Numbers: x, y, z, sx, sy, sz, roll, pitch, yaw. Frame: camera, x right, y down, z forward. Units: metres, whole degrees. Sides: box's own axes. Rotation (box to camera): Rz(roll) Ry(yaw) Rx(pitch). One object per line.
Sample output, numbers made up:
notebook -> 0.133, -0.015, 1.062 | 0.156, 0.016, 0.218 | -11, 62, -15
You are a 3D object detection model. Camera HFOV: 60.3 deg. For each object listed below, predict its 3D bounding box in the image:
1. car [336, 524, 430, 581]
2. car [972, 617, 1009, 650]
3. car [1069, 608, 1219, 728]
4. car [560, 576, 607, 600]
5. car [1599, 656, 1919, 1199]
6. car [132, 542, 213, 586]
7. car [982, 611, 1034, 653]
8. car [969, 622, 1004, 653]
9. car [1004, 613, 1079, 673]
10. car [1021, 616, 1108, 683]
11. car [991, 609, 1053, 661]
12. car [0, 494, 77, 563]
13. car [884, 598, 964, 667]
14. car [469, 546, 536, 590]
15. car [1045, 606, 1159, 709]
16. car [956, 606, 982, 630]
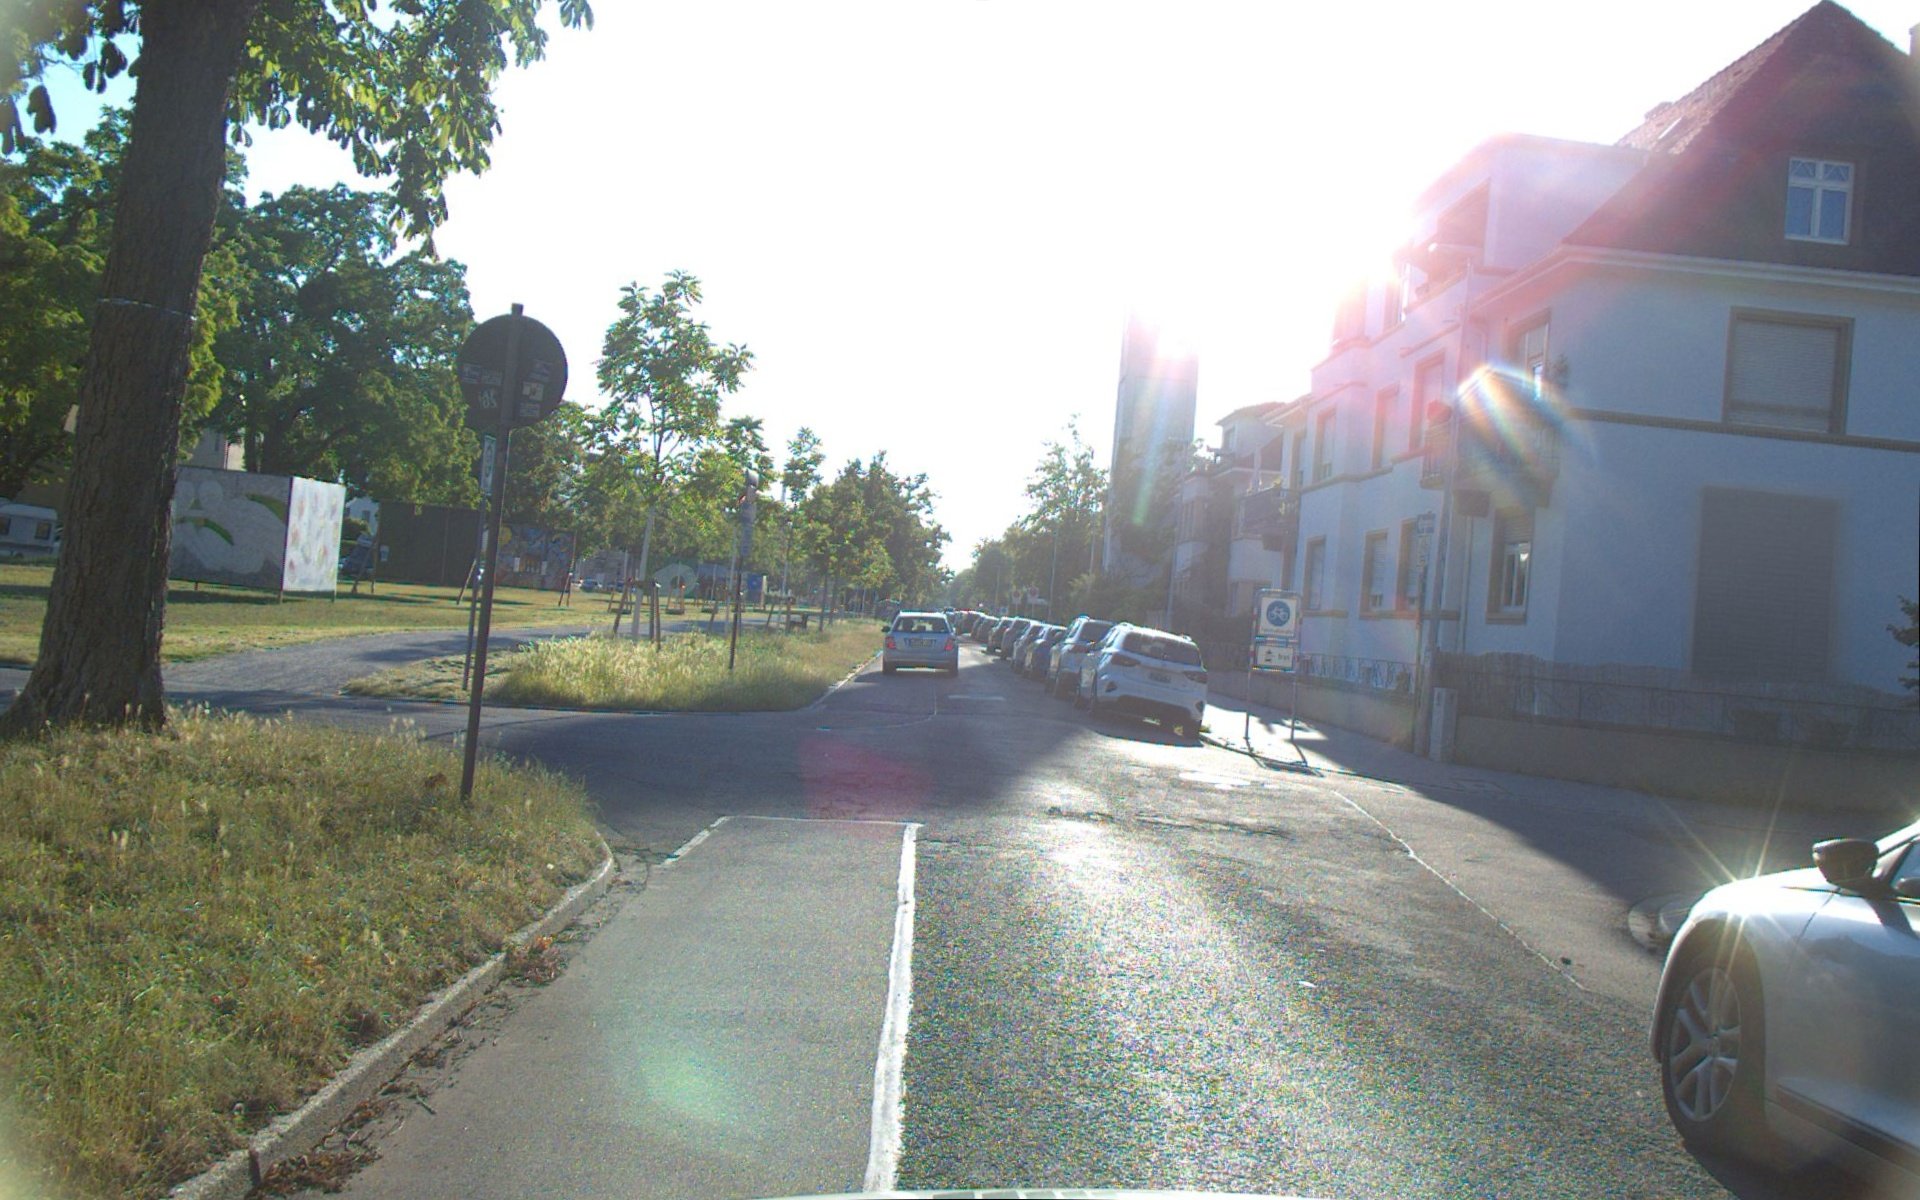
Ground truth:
car -> -34.525, -2.798, 99.185 | 3.095, 3.045, 6.892 | 2, 0, 0
car -> 1.720, 1.891, 94.271 | 1.953, 1.657, 4.000 | 4, 0, 0
car -> 2.928, 1.039, 27.178 | 1.723, 1.632, 4.357 | 4, 0, -2
car -> -36.399, -1.132, 160.195 | 3.095, 2.185, 6.109 | 2, 0, 0
car -> 3.267, 1.081, 3.897 | 1.723, 1.443, 4.071 | 10, 0, 0
car -> -40.070, -1.828, 84.229 | 1.953, 2.049, 4.484 | 2, 0, -1
car -> 1.937, 1.292, 68.343 | 1.953, 1.489, 4.000 | 4, 0, 0
car -> 1.583, 2.268, 100.786 | 1.953, 1.657, 4.000 | 4, 0, 0
car -> 2.295, 1.206, 47.573 | 1.726, 1.444, 3.998 | 5, 0, -2
car -> 2.622, 1.225, 42.217 | 1.726, 1.444, 3.998 | 5, 0, -2
car -> 2.135, 1.184, 57.642 | 1.726, 1.547, 3.998 | 6, 0, -2
car -> -33.868, -2.557, 58.247 | 2.483, 2.275, 5.458 | 4, 1, -1
car -> -0.875, 0.731, 38.849 | 1.725, 1.445, 3.998 | 3, 0, -2
car -> -34.915, -2.394, 126.412 | 3.095, 3.045, 6.892 | 2, 0, 0
car -> 2.774, 1.092, 33.183 | 1.652, 1.678, 4.099 | 9, 0, -1
car -> 0.699, 1.372, 128.937 | 1.940, 1.712, 4.000 | 4, 0, 0
